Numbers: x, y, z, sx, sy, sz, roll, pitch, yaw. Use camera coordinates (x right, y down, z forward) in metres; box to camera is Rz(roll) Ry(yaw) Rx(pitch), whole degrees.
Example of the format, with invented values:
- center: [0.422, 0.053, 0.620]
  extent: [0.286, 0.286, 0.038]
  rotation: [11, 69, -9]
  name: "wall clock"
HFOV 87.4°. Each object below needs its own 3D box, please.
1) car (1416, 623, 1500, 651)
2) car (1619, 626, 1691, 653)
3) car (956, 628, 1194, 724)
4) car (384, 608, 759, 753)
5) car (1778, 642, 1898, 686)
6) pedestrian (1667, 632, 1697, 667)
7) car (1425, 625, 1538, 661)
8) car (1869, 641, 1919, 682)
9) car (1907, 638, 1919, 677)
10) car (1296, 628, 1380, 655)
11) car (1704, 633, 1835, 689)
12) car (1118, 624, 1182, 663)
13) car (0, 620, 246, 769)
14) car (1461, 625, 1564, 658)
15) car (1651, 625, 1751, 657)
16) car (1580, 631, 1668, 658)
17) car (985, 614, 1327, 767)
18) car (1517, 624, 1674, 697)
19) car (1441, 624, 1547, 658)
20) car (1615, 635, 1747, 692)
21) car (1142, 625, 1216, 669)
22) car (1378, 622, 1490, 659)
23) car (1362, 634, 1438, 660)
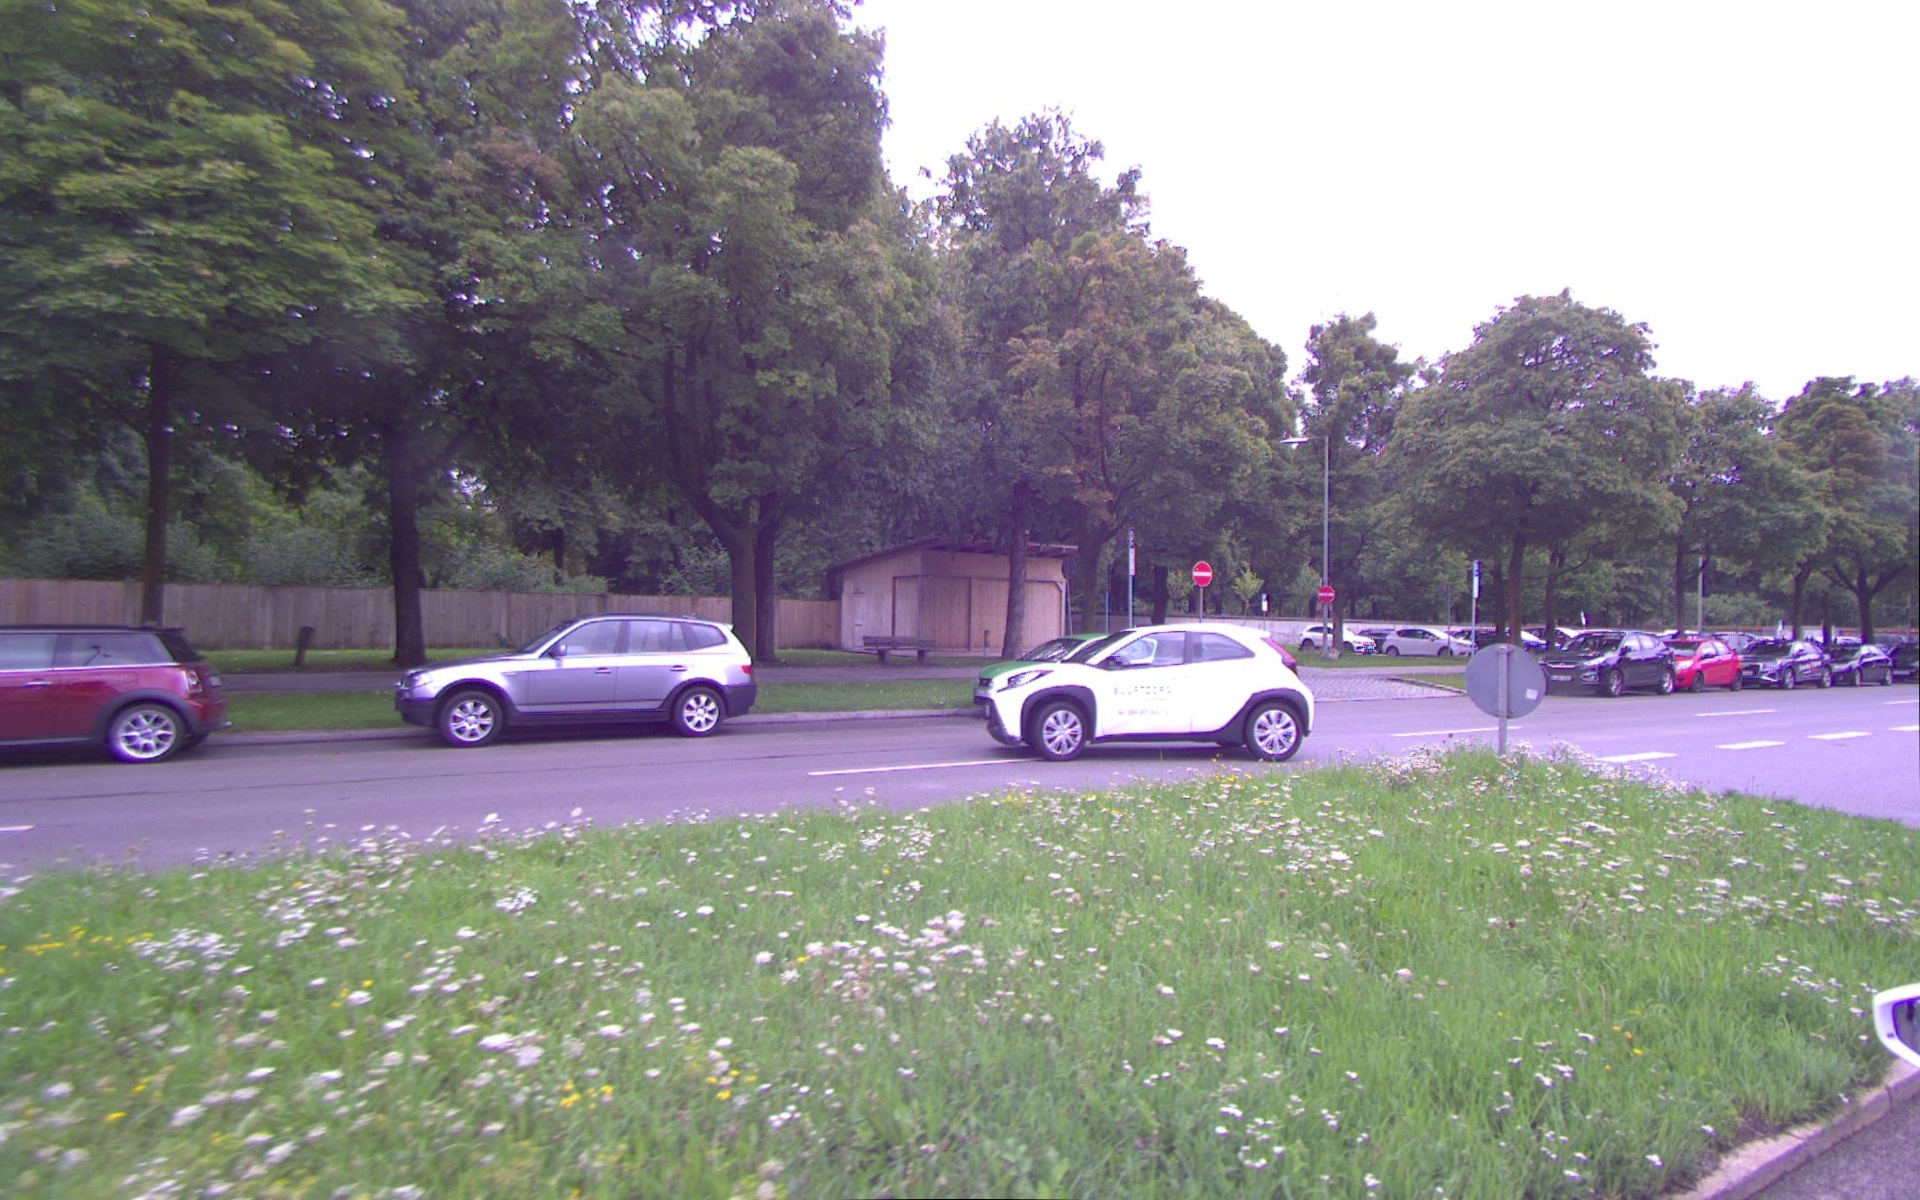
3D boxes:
- center: [31.492, 2.301, 63.634]
  extent: [1.977, 1.647, 4.483]
  rotation: [2, -1, -30]
  name: "car"
- center: [56.684, 3.223, 82.004]
  extent: [1.977, 2.061, 4.483]
  rotation: [2, -1, -30]
  name: "car"
- center: [2.046, 1.265, 17.559]
  extent: [3.952, 1.519, 1.633]
  rotation: [1, -2, -30]
  name: "car"
- center: [-5.095, 0.990, 13.341]
  extent: [4.405, 1.652, 1.813]
  rotation: [2, -2, -31]
  name: "car"
- center: [29.903, 2.153, 34.196]
  extent: [3.950, 1.428, 1.814]
  rotation: [2, -3, -28]
  name: "car"
- center: [31.494, 2.147, 43.809]
  extent: [0.846, 1.515, 0.791]
  rotation: [1, -1, -30]
  name: "pedestrian"
- center: [23.351, 1.900, 45.104]
  extent: [1.978, 1.461, 4.112]
  rotation: [2, -1, -32]
  name: "car"
- center: [35.716, 2.278, 37.497]
  extent: [3.960, 1.466, 1.810]
  rotation: [2, -3, -35]
  name: "car"
- center: [39.872, 2.332, 40.233]
  extent: [4.252, 1.547, 1.812]
  rotation: [3, -3, -32]
  name: "car"
- center: [22.067, 2.413, 58.771]
  extent: [1.974, 1.461, 4.490]
  rotation: [2, -1, -26]
  name: "car"
- center: [25.323, 1.872, 31.409]
  extent: [4.063, 1.620, 1.813]
  rotation: [2, -1, -29]
  name: "car"
- center: [7.736, 1.732, 41.276]
  extent: [1.822, 1.428, 4.470]
  rotation: [1, -1, 0]
  name: "car"
- center: [-9.781, 0.953, 10.440]
  extent: [3.643, 1.440, 1.643]
  rotation: [2, -3, -30]
  name: "car"
- center: [27.022, 2.014, 49.186]
  extent: [1.980, 1.461, 3.960]
  rotation: [2, -1, -35]
  name: "car"
- center: [39.723, 2.177, 53.945]
  extent: [1.792, 1.591, 3.971]
  rotation: [2, -1, -28]
  name: "car"
- center: [39.524, 2.634, 59.829]
  extent: [1.980, 1.461, 3.960]
  rotation: [2, -1, -35]
  name: "car"
- center: [2.132, 0.990, 11.752]
  extent: [3.647, 1.574, 1.828]
  rotation: [1, -1, 1]
  name: "car"
- center: [16.628, 1.577, 26.222]
  extent: [4.193, 1.722, 1.812]
  rotation: [3, -1, -32]
  name: "car"
- center: [25.017, 1.900, 47.166]
  extent: [1.980, 1.461, 3.960]
  rotation: [2, -1, -35]
  name: "car"
- center: [20.897, 1.847, 29.088]
  extent: [3.768, 1.499, 1.812]
  rotation: [3, -1, -32]
  name: "car"
- center: [7.836, 1.658, 36.276]
  extent: [1.822, 1.428, 3.860]
  rotation: [1, -1, 0]
  name: "car"
- center: [20.661, 1.730, 43.915]
  extent: [1.980, 1.461, 3.960]
  rotation: [2, -1, -35]
  name: "car"
- center: [26.476, 2.813, 60.549]
  extent: [1.852, 1.391, 3.975]
  rotation: [1, -1, -25]
  name: "car"
